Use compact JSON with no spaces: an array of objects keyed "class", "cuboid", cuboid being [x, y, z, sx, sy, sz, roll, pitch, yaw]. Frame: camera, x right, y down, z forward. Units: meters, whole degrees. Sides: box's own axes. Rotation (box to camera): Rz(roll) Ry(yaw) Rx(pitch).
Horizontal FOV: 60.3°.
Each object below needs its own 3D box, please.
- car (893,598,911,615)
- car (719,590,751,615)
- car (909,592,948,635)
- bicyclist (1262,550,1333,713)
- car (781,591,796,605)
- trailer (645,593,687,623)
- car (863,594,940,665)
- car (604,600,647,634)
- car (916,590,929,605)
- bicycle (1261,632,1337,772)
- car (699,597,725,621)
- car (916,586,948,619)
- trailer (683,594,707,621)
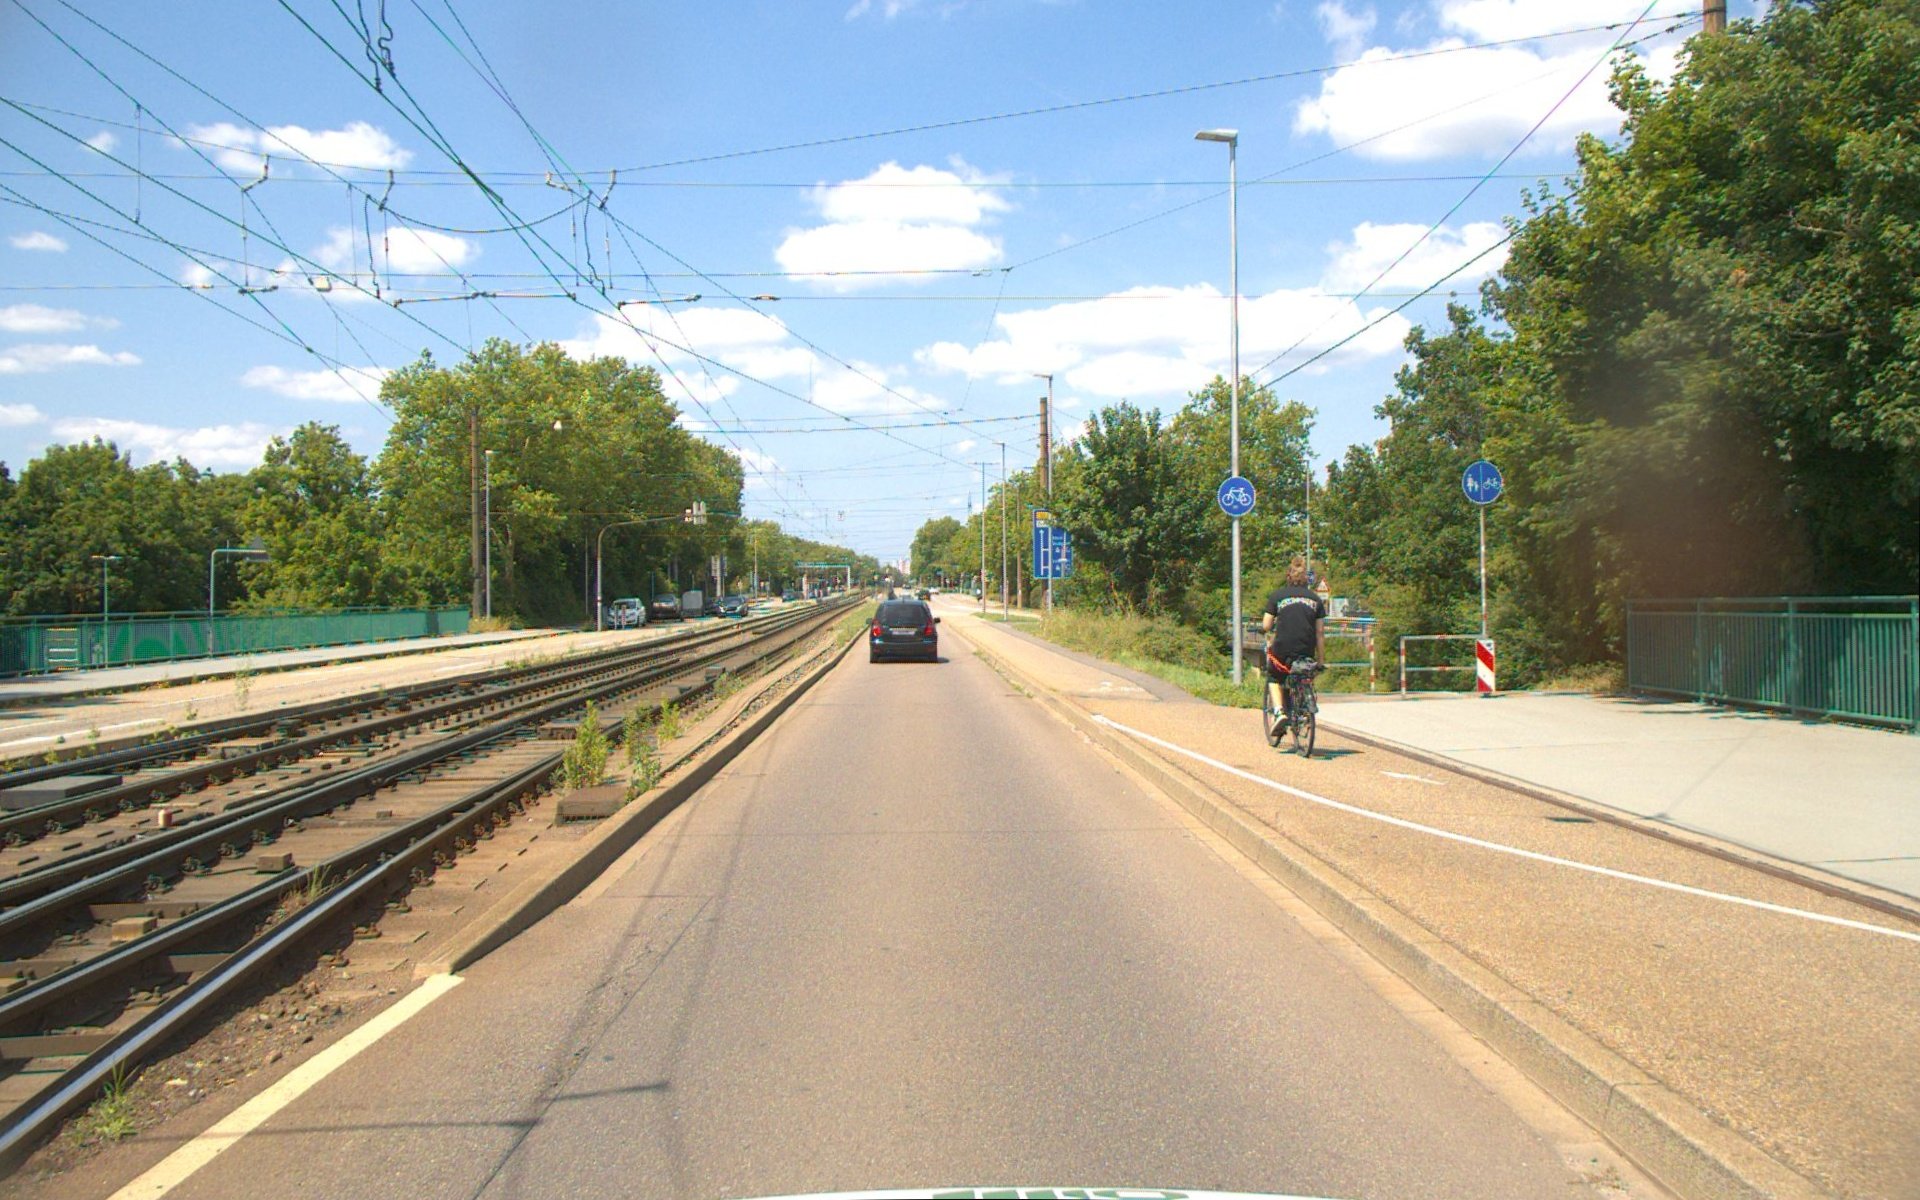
[{"class":"car","cuboid":[-6.184,0.682,177.505,1.847,1.668,4.000,3,1,-1]},{"class":"car","cuboid":[-16.481,0.182,121.337,1.837,1.750,5.328,-1,0,-3]},{"class":"car","cuboid":[-1.642,0.684,86.351,1.953,2.048,4.000,0,2,-1]},{"class":"bicyclist","cuboid":[3.200,0.286,15.708,0.573,1.521,0.558,0,1,3]},{"class":"car","cuboid":[-26.532,-0.365,255.455,1.953,2.049,3.998,-2,0,-2]},{"class":"trailer","cuboid":[-19.860,0.507,112.046,2.414,1.922,5.954,0,0,-6]},{"class":"car","cuboid":[-1.469,0.714,43.092,1.815,1.597,4.389,0,2,0]},{"class":"car","cuboid":[-19.457,0.982,96.294,1.686,1.658,4.614,-4,2,-3]},{"class":"car","cuboid":[-5.453,-0.355,239.848,1.750,2.048,3.999,0,2,-2]},{"class":"bicycle","cuboid":[3.212,0.934,15.782,0.423,1.172,1.856,0,2,3]},{"class":"car","cuboid":[-22.095,0.790,147.497,1.816,2.048,3.999,0,2,-2]},{"class":"car","cuboid":[-1.901,0.159,110.578,1.954,2.048,3.998,0,2,-3]},{"class":"trailer","cuboid":[-21.196,0.564,132.449,1.578,2.049,3.912,0,1,-5]}]
